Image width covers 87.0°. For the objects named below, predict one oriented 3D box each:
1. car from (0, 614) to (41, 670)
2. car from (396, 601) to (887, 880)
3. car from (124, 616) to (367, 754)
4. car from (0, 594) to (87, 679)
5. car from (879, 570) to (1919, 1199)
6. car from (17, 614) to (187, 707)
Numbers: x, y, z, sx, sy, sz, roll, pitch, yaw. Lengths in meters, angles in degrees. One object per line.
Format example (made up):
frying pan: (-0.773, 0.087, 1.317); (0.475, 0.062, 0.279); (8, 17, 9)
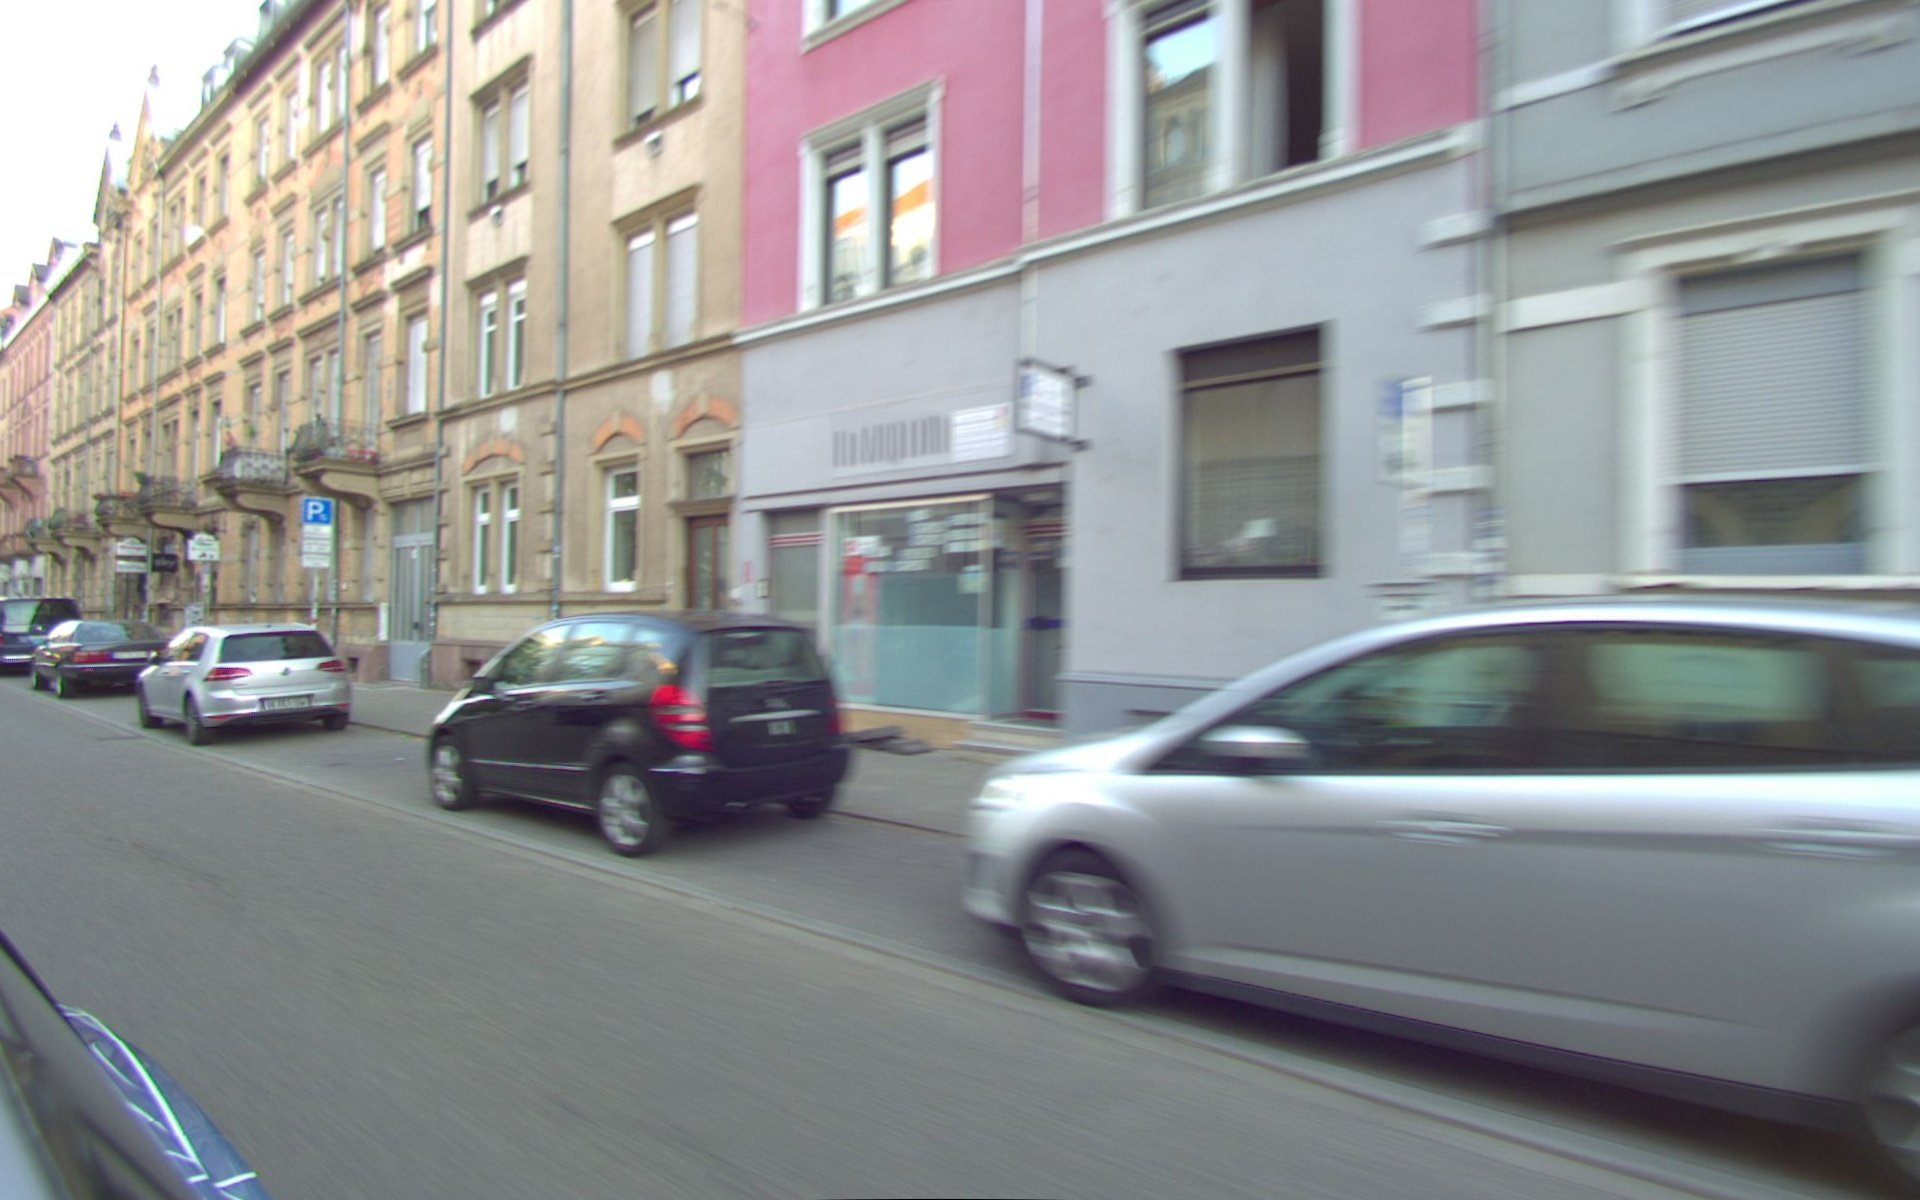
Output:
car: (-28.135, 1.228, 29.098); (4.050, 1.486, 1.737); (-1, 3, 37)
car: (-2.632, 0.838, 7.869); (4.054, 1.605, 1.735); (-1, 0, 40)
car: (-9.878, 1.036, 13.874); (4.055, 1.486, 1.735); (-1, 3, 41)
car: (-24.091, 0.891, 25.909); (4.287, 1.975, 1.851); (-1, 1, 38)
car: (2.039, 0.733, 3.769); (4.665, 1.605, 1.815); (-1, 0, 38)
car: (-16.792, 1.097, 19.739); (4.276, 1.486, 1.736); (-1, 3, 40)
